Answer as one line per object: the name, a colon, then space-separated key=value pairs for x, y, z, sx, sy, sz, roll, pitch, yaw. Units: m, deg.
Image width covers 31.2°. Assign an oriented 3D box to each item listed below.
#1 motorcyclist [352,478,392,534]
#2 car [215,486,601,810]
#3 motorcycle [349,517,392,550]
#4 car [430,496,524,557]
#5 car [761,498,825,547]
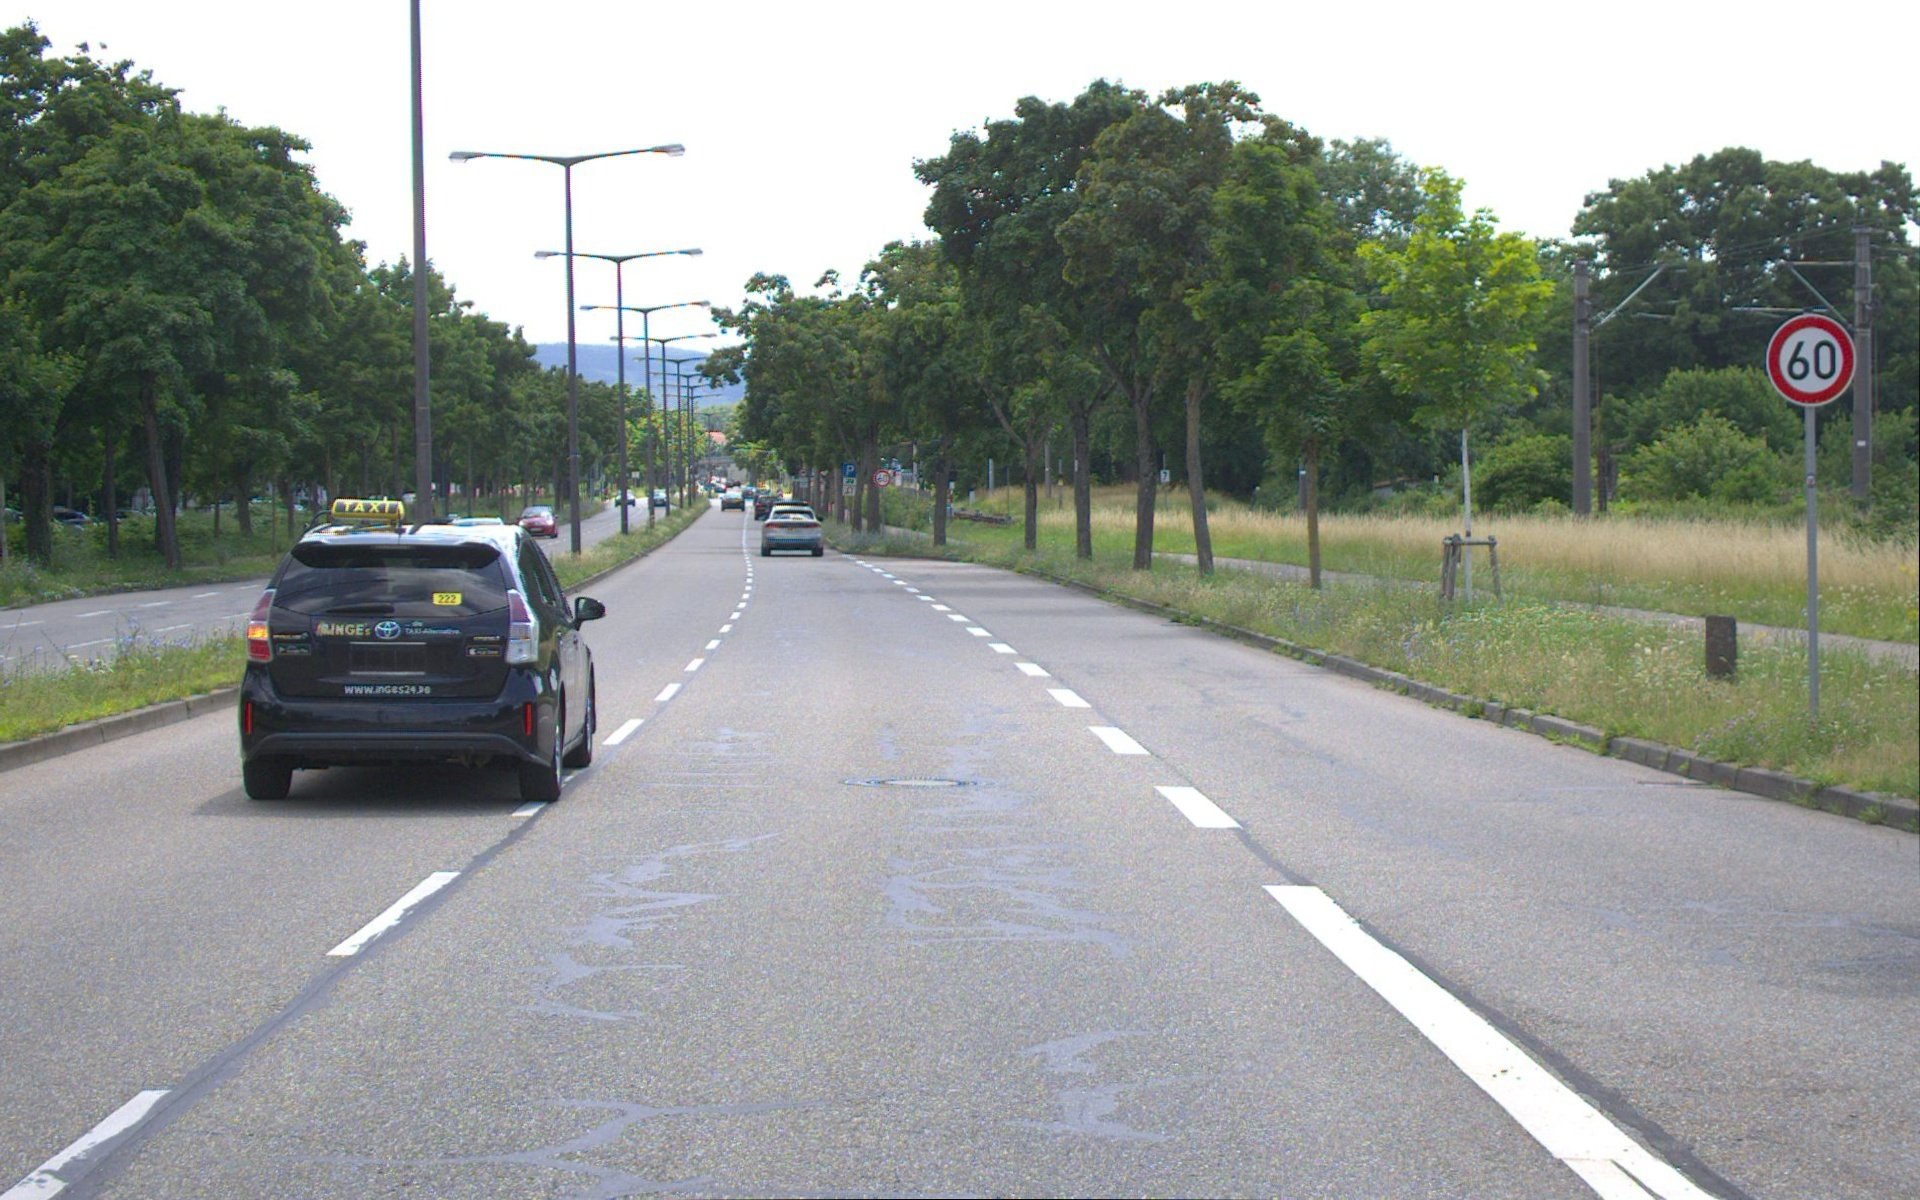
motorcyclist: x=-15.201 y=-2.430 z=88.914 sx=0.827 sy=1.409 sz=1.329 roll=1 pitch=2 yaw=-2
car: x=-3.161 y=0.195 z=20.381 sx=1.779 sy=1.678 sz=4.001 roll=1 pitch=2 yaw=-2
motorcycle: x=-15.243 y=-1.726 z=88.959 sx=0.751 sy=0.769 sz=2.672 roll=1 pitch=2 yaw=-2
car: x=-11.876 y=-1.830 z=84.770 sx=1.810 sy=1.393 sz=4.734 roll=-1 pitch=2 yaw=-2
car: x=-5.509 y=-2.570 z=113.103 sx=1.993 sy=1.503 sz=4.001 roll=1 pitch=2 yaw=-4
